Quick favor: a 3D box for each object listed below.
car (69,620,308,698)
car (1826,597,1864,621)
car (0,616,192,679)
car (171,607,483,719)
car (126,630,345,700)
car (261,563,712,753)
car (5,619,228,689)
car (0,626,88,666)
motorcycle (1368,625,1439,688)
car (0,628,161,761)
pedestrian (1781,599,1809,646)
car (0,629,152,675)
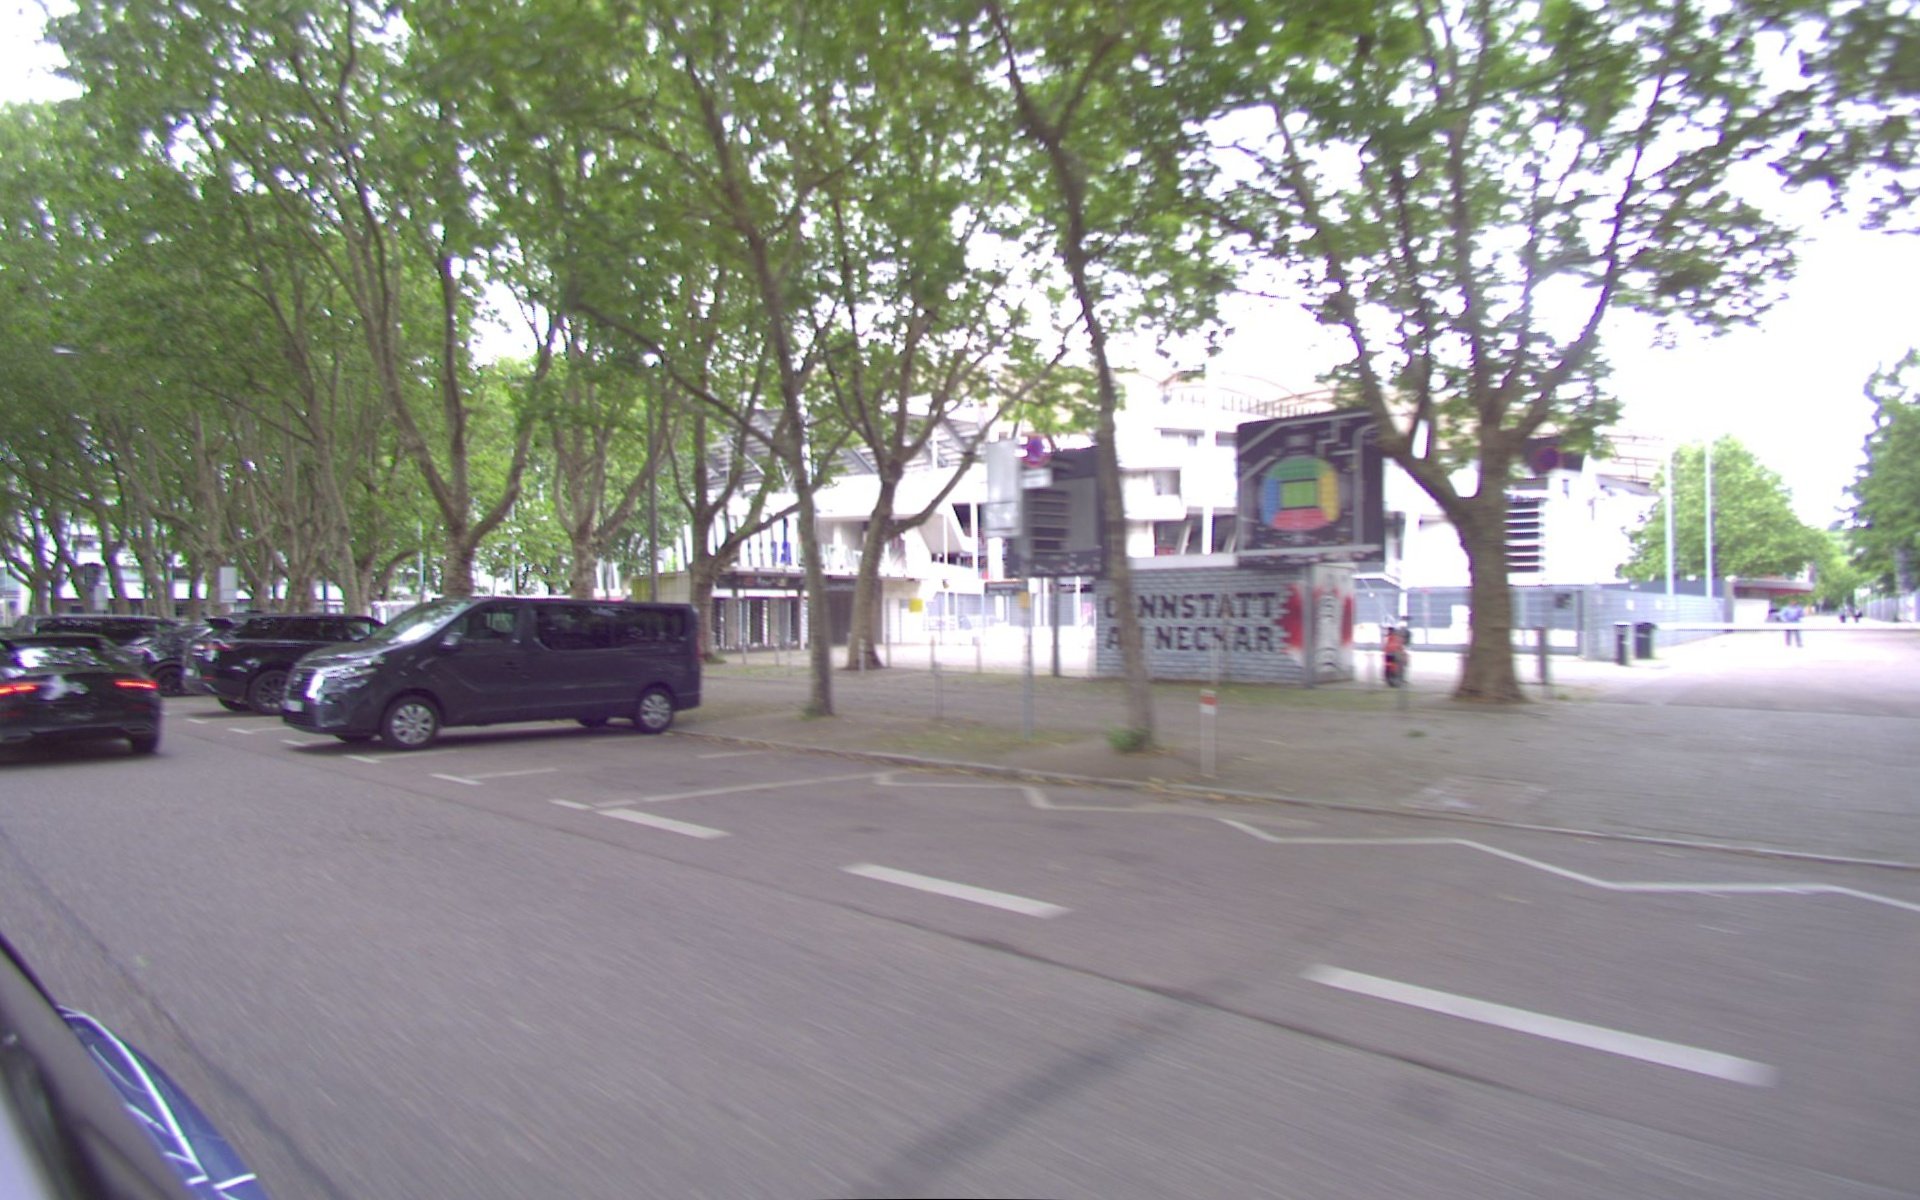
[{"bbox_3d":[-19.375,1.484,25.600,1.797,1.795,4.529,-3,-4,42],"label":"car"},{"bbox_3d":[76.796,0.799,87.859,2.191,1.916,4.632,-2,-4,39],"label":"car"},{"bbox_3d":[-28.884,1.587,33.854,2.015,1.939,4.715,-2,-4,39],"label":"car"},{"bbox_3d":[-11.692,1.176,18.992,1.804,1.834,4.606,-3,-4,40],"label":"car"},{"bbox_3d":[-17.132,1.514,24.079,1.752,1.505,3.859,-1,-3,38],"label":"car"},{"bbox_3d":[-6.277,0.785,14.143,1.938,2.144,5.382,-2,-4,39],"label":"car"},{"bbox_3d":[-25.317,1.583,30.521,2.207,1.939,4.854,-2,-3,41],"label":"car"},{"bbox_3d":[-40.380,1.964,43.332,1.758,1.630,4.467,-2,-2,43],"label":"car"},{"bbox_3d":[8.522,1.061,19.418,0.739,1.151,1.637,-2,-2,44],"label":"motorcycle"},{"bbox_3d":[-11.264,1.042,12.138,4.105,1.374,1.638,-1,-4,37],"label":"car"},{"bbox_3d":[30.950,0.830,37.529,0.764,1.737,0.652,-2,-1,40],"label":"pedestrian"},{"bbox_3d":[-32.739,1.917,37.446,1.754,1.581,4.068,-2,-3,36],"label":"car"}]
